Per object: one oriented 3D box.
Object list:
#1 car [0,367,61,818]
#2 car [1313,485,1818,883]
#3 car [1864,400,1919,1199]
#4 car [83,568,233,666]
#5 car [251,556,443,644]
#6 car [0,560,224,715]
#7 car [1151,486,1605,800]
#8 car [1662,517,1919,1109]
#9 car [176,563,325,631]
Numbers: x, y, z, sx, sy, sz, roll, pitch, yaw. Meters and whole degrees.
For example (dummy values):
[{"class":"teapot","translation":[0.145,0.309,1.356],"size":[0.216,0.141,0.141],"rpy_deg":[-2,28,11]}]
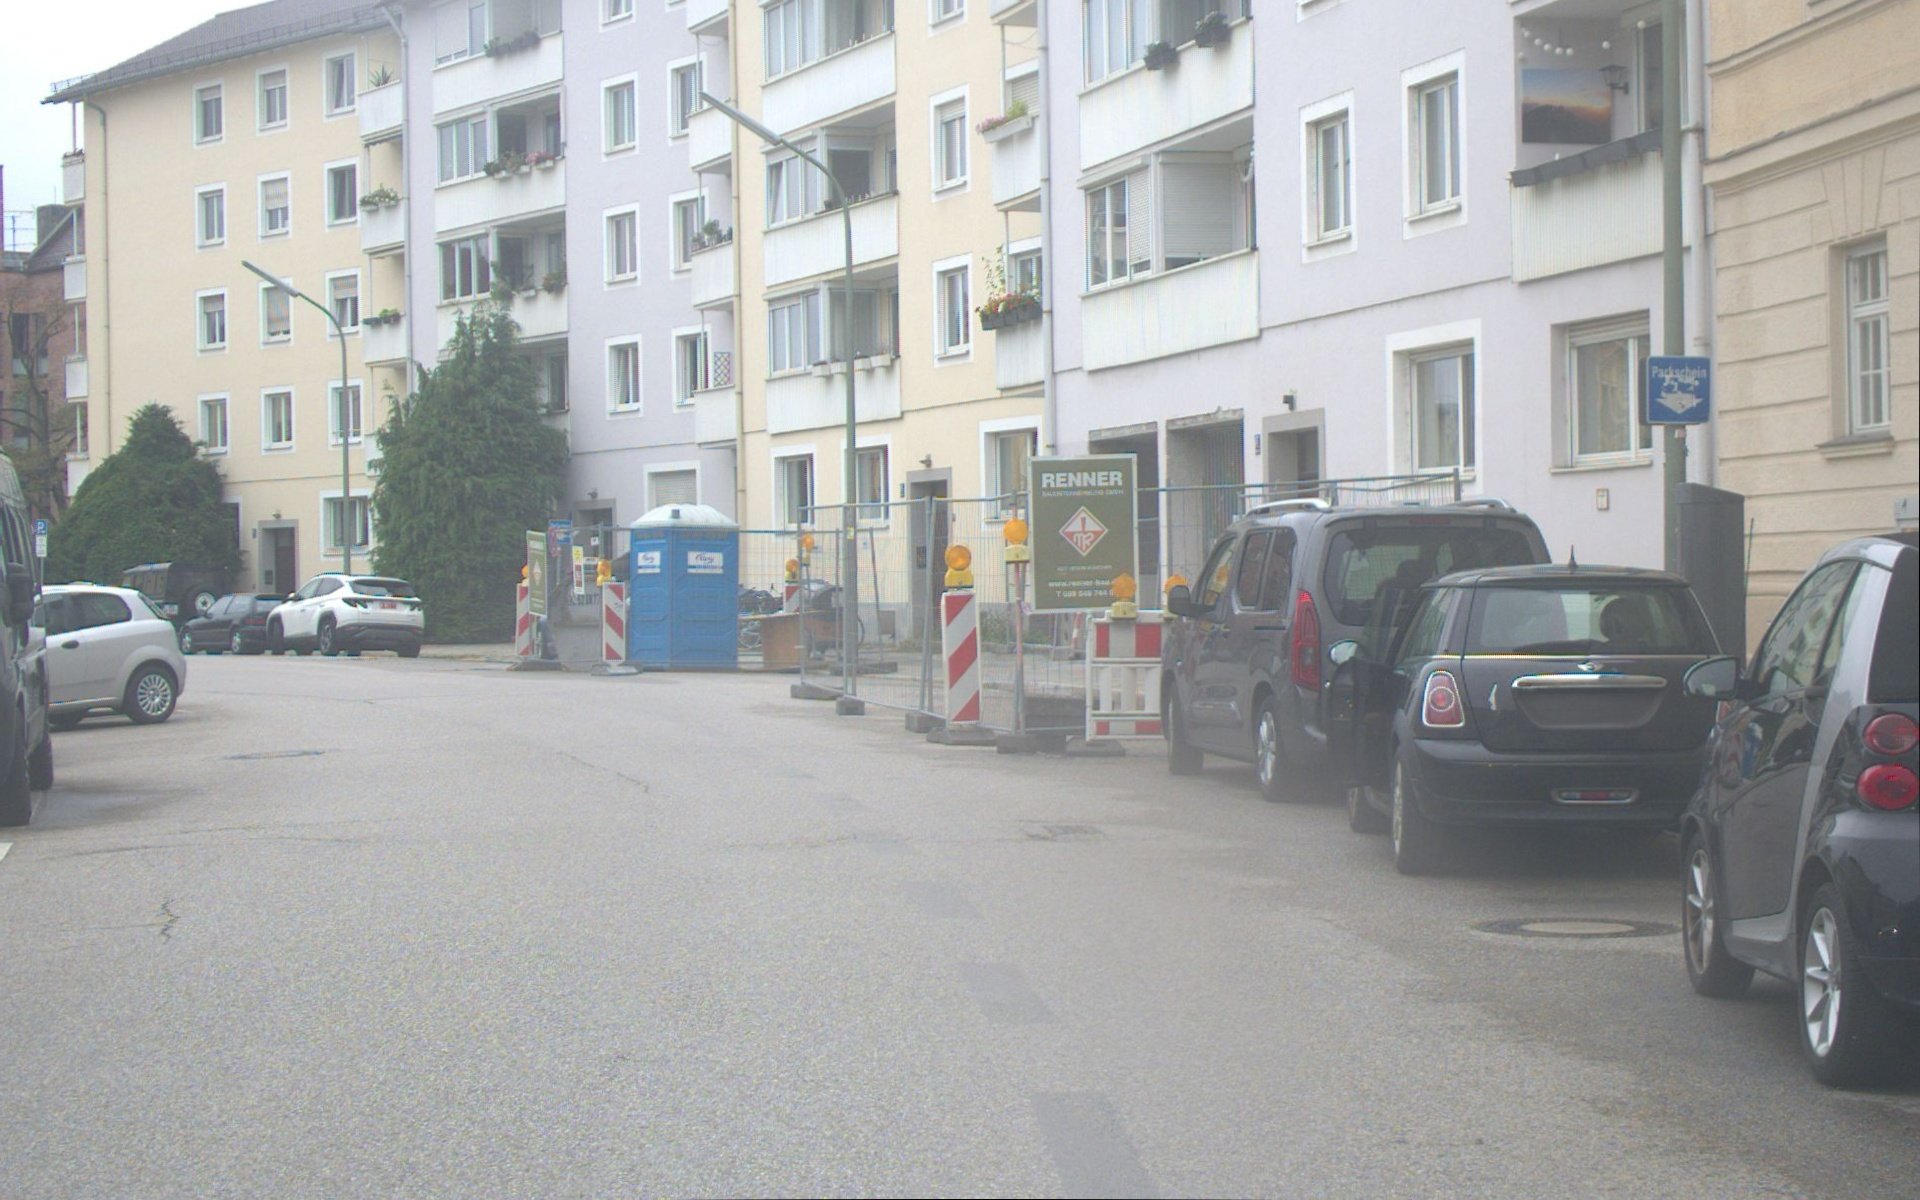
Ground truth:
[{"class":"car","translation":[-7.113,-0.024,22.410],"size":[2.143,2.565,6.213],"rpy_deg":[-2,1,-13]},{"class":"car","translation":[2.854,0.360,16.977],"size":[1.836,1.724,3.730],"rpy_deg":[1,0,0]},{"class":"car","translation":[2.863,0.536,4.877],"size":[1.927,1.724,4.687],"rpy_deg":[1,2,0]},{"class":"car","translation":[-17.708,0.353,75.768],"size":[1.747,2.074,4.515],"rpy_deg":[1,0,-33]},{"class":"car","translation":[-12.111,-0.021,67.732],"size":[2.026,1.672,4.612],"rpy_deg":[1,0,-34]},{"class":"car","translation":[-9.612,0.360,34.872],"size":[1.674,1.525,3.973],"rpy_deg":[1,0,41]},{"class":"car","translation":[2.544,0.241,21.997],"size":[1.836,1.793,4.239],"rpy_deg":[1,0,-8]},{"class":"car","translation":[3.136,0.563,10.426],"size":[1.507,1.551,2.862],"rpy_deg":[1,0,2]},{"class":"car","translation":[-14.864,-0.045,71.904],"size":[1.658,1.344,3.803],"rpy_deg":[1,-1,-35]}]
